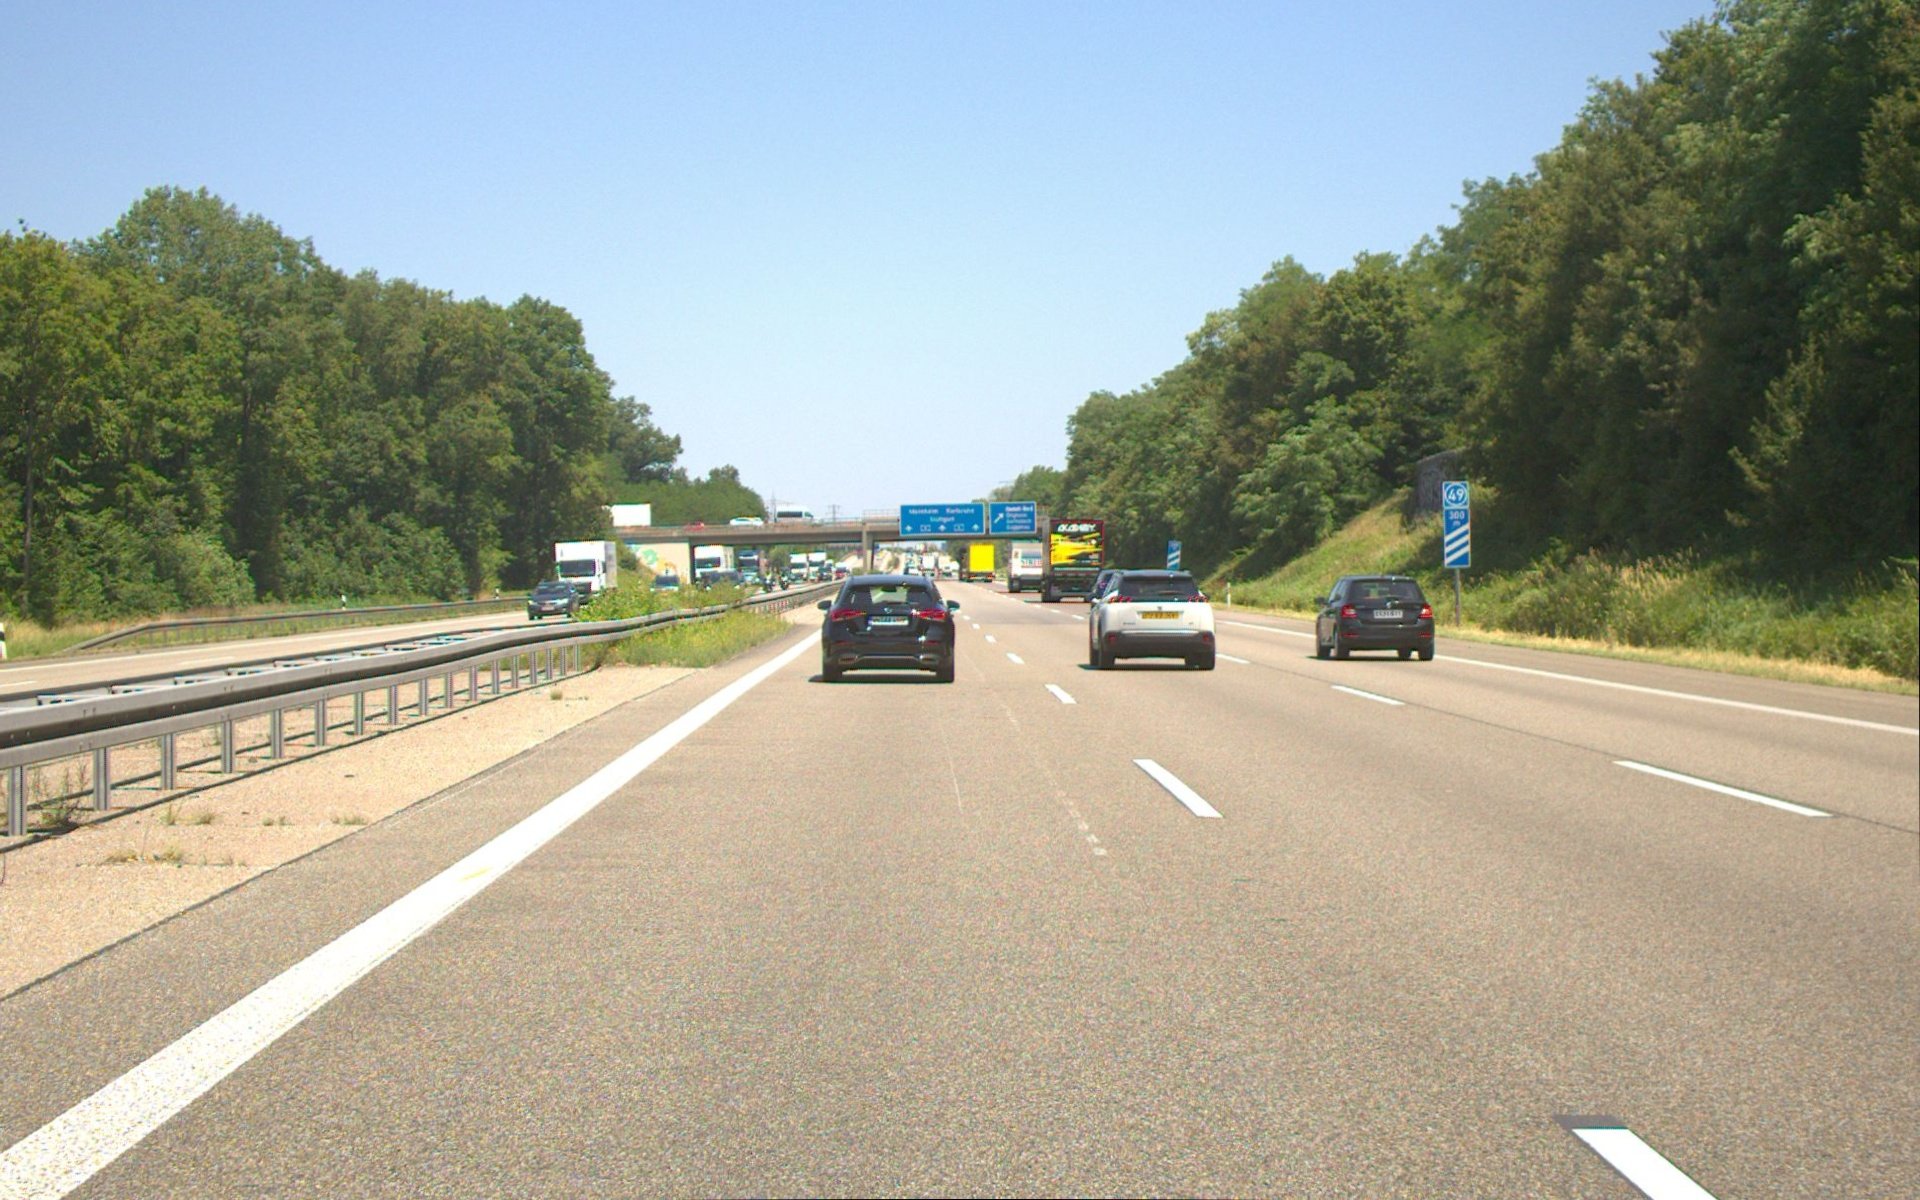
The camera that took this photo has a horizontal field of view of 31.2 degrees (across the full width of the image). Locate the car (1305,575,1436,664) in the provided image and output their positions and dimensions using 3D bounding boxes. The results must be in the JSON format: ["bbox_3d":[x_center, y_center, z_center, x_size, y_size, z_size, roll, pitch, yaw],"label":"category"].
[{"bbox_3d":[7.053,0.308,59.330,1.789,1.456,3.949,0,1,0],"label":"car"}]

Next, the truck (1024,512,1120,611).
[{"bbox_3d":[5.378,-1.845,169.054,3.647,4.574,15.768,1,0,-2],"label":"truck"}]

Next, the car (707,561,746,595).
[{"bbox_3d":[-11.816,-1.113,174.230,1.799,1.690,4.242,0,1,-1],"label":"car"}]

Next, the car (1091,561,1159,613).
[{"bbox_3d":[5.857,-0.475,122.489,2.076,1.745,4.242,-1,1,-2],"label":"car"}]

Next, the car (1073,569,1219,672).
[{"bbox_3d":[2.859,0.293,53.627,1.899,1.527,4.242,0,1,-2],"label":"car"}]

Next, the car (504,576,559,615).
[{"bbox_3d":[-17.399,-0.201,139.861,1.799,1.527,4.679,0,1,-2],"label":"car"}]

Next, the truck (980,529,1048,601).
[{"bbox_3d":[3.510,-2.311,229.966,3.647,4.574,17.248,1,0,-2],"label":"truck"}]

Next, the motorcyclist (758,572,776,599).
[{"bbox_3d":[-13.151,-1.010,234.754,1.152,1.809,1.027,-1,0,-1],"label":"motorcyclist"}]

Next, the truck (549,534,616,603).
[{"bbox_3d":[-20.815,-1.749,189.978,2.796,3.620,10.698,-1,1,-2],"label":"truck"}]

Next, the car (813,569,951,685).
[{"bbox_3d":[-1.084,0.334,47.096,1.799,1.497,4.242,0,1,-2],"label":"car"}]
